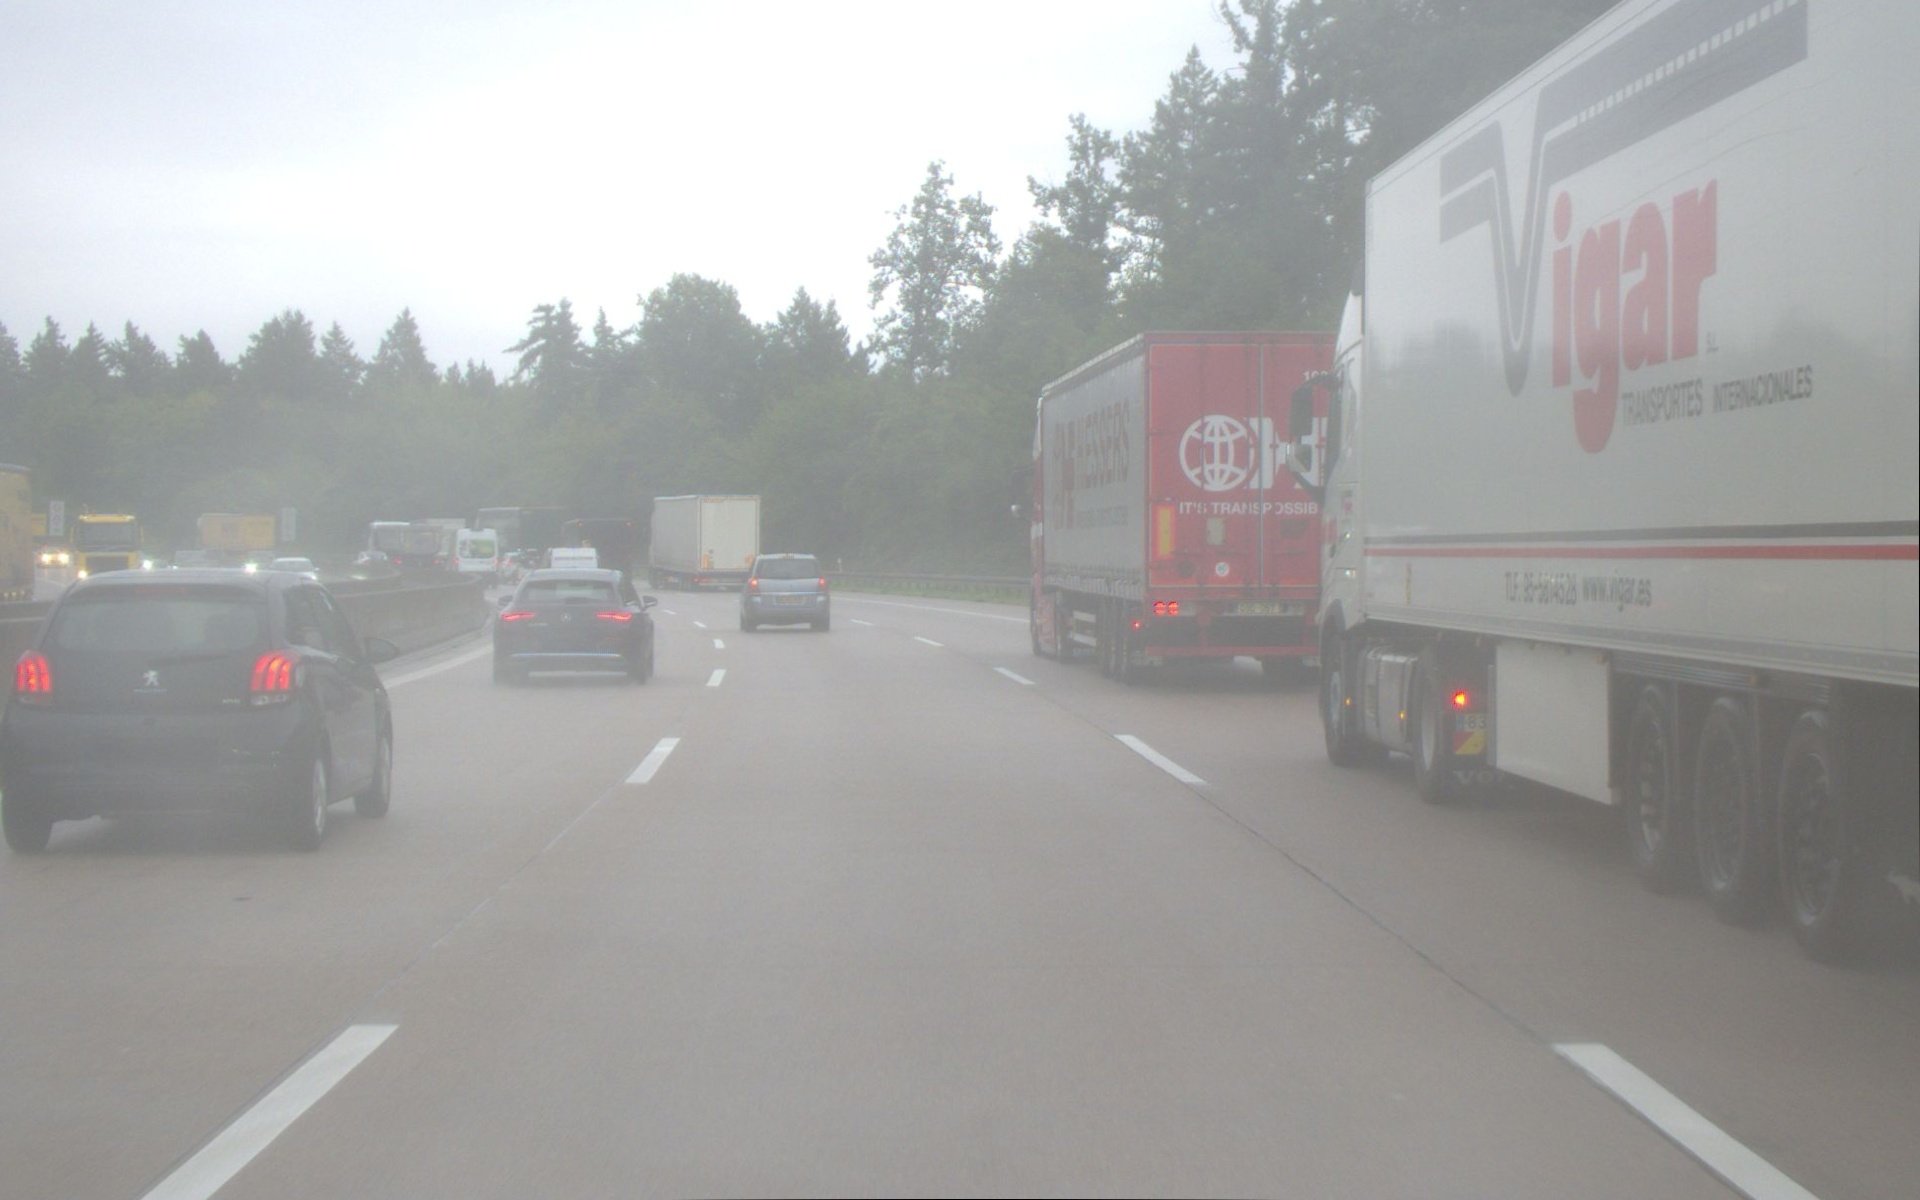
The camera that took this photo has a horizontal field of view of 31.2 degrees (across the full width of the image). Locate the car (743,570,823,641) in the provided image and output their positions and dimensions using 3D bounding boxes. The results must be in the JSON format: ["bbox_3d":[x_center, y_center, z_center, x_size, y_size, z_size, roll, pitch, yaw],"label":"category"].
[{"bbox_3d":[-3.657,0.091,71.376,1.553,1.347,3.684,2,1,-2],"label":"car"}]

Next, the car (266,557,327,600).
[{"bbox_3d":[-23.490,-0.768,121.819,1.653,1.474,4.546,0,1,-5],"label":"car"}]

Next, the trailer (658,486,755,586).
[{"bbox_3d":[-10.841,-2.757,145.827,2.419,4.054,12.059,0,1,-12],"label":"trailer"}]

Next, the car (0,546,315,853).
[{"bbox_3d":[-4.566,0.464,18.776,1.683,1.457,3.684,2,1,-6],"label":"car"}]

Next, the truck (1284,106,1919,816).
[{"bbox_3d":[3.993,-0.840,22.857,2.798,4.089,5.968,0,1,-3],"label":"truck"}]

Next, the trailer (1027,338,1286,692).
[{"bbox_3d":[2.316,-1.027,44.649,2.370,3.940,12.521,1,1,-1],"label":"trailer"}]

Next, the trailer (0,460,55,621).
[{"bbox_3d":[-24.696,-1.458,84.243,3.013,3.861,13.703,0,1,-7],"label":"trailer"}]

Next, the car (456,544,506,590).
[{"bbox_3d":[-22.022,-1.518,157.834,1.993,2.052,4.001,0,1,-12],"label":"car"}]

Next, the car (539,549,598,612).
[{"bbox_3d":[-12.918,-0.665,113.346,1.725,2.007,3.658,0,1,-9],"label":"car"}]

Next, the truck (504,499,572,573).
[{"bbox_3d":[-24.296,-3.730,197.470,3.368,4.117,10.440,0,1,-10],"label":"truck"}]

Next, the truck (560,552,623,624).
[{"bbox_3d":[-16.154,-0.561,150.378,2.269,2.877,7.906,1,2,-9],"label":"truck"}]

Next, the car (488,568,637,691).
[{"bbox_3d":[-4.799,0.330,41.842,1.553,1.347,3.684,2,1,-3],"label":"car"}]

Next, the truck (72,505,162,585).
[{"bbox_3d":[-35.728,-2.316,146.012,2.621,3.285,9.384,0,1,-7],"label":"truck"}]

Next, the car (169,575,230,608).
[{"bbox_3d":[-28.530,-0.338,129.049,1.653,1.194,4.546,0,1,-5],"label":"car"}]

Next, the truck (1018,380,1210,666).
[{"bbox_3d":[2.186,-1.106,50.810,2.375,3.940,6.160,1,1,-1],"label":"truck"}]

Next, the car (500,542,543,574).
[{"bbox_3d":[-21.622,-2.087,169.427,1.881,1.468,4.001,2,1,-10],"label":"car"}]

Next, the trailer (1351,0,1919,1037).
[{"bbox_3d":[4.219,-0.751,16.383,2.734,4.089,13.684,0,1,-2],"label":"trailer"}]

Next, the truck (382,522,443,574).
[{"bbox_3d":[-33.408,-3.188,209.649,3.081,2.895,7.906,1,2,-13],"label":"truck"}]
